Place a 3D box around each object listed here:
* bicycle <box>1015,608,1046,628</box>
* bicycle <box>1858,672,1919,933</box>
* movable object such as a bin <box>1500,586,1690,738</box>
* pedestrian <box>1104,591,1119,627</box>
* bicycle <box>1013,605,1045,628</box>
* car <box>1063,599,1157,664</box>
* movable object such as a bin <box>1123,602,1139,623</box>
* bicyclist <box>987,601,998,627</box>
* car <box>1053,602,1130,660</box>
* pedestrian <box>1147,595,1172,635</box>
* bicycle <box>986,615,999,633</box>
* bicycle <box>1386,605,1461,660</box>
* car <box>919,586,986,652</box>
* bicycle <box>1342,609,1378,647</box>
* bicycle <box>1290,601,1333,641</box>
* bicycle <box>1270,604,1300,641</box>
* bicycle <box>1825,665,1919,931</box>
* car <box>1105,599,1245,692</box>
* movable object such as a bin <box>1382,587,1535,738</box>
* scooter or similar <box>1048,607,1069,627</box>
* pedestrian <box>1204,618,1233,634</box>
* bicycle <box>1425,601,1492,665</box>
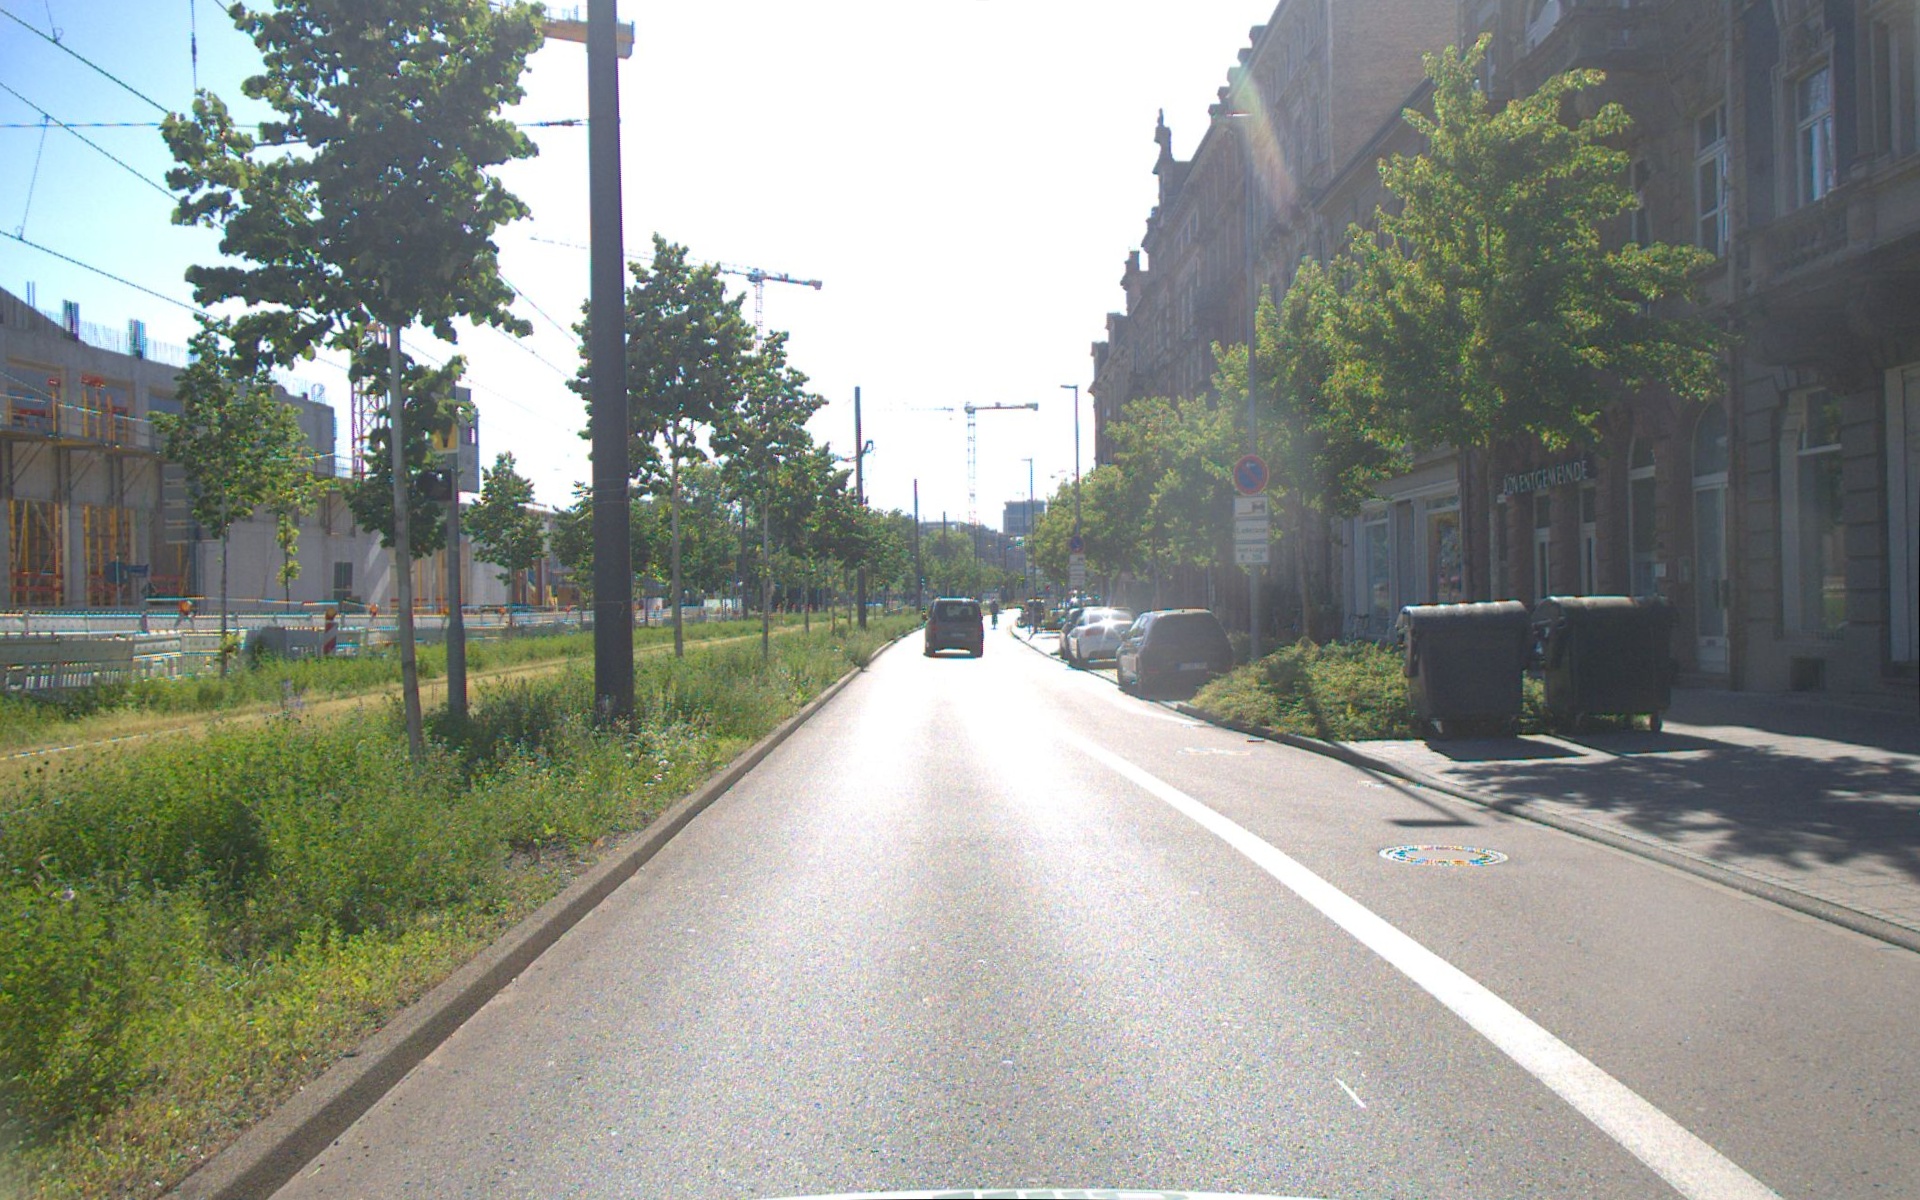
[{"bbox_3d":[4.357,1.102,102.558,1.790,1.097,0.664,-4,-1,-7],"label":"bicycle"},{"bbox_3d":[5.198,0.843,7.432,2.005,1.126,0.610,-4,-1,-7],"label":"bicycle"},{"bbox_3d":[6.975,0.667,18.295,1.345,1.521,1.749,-3,-1,0],"label":"movable object such as a bin"},{"bbox_3d":[8.794,0.506,96.075,0.801,2.049,1.046,0,-3,-1],"label":"pedestrian"},{"bbox_3d":[4.241,1.016,101.023,1.843,1.255,0.499,-3,-1,-7],"label":"bicycle"},{"bbox_3d":[3.898,0.808,43.652,1.912,1.521,5.104,-3,0,-1],"label":"car"},{"bbox_3d":[9.599,0.700,92.866,0.711,1.117,0.747,-1,0,-5],"label":"movable object such as a bin"},{"bbox_3d":[2.044,0.898,103.936,0.669,1.612,0.839,0,0,-1],"label":"bicyclist"},{"bbox_3d":[3.960,0.939,50.387,1.846,1.597,4.219,-3,-1,-1],"label":"car"},{"bbox_3d":[8.734,0.659,72.392,0.976,1.762,0.866,0,-1,-1],"label":"pedestrian"},{"bbox_3d":[2.038,1.497,103.804,0.687,1.110,2.277,-1,0,-1],"label":"bicycle"},{"bbox_3d":[10.165,0.704,36.387,0.858,1.124,2.180,-4,0,-3],"label":"bicycle"},{"bbox_3d":[-0.278,0.620,53.913,1.954,2.049,3.997,0,-1,-4],"label":"car"},{"bbox_3d":[10.381,0.723,42.978,0.438,0.961,2.012,0,0,-1],"label":"bicycle"},{"bbox_3d":[10.094,0.590,47.522,0.706,1.109,2.198,-2,0,0],"label":"bicycle"},{"bbox_3d":[10.182,0.699,51.867,0.471,1.109,2.056,-2,0,0],"label":"bicycle"},{"bbox_3d":[5.186,0.851,7.840,1.937,1.143,0.481,-5,1,-6],"label":"bicycle"},{"bbox_3d":[3.927,0.829,30.945,1.731,1.502,4.445,-3,-1,-3],"label":"car"},{"bbox_3d":[5.414,0.651,18.091,1.244,1.488,1.645,-2,2,4],"label":"movable object such as a bin"},{"bbox_3d":[5.830,0.985,98.192,1.194,1.125,0.783,-2,0,2],"label":"scooter or similar"},{"bbox_3d":[10.043,1.009,64.343,0.757,0.563,2.007,-1,0,-1],"label":"pedestrian"},{"bbox_3d":[10.027,0.657,33.320,0.733,1.222,1.800,-2,-1,-1],"label":"bicycle"}]
